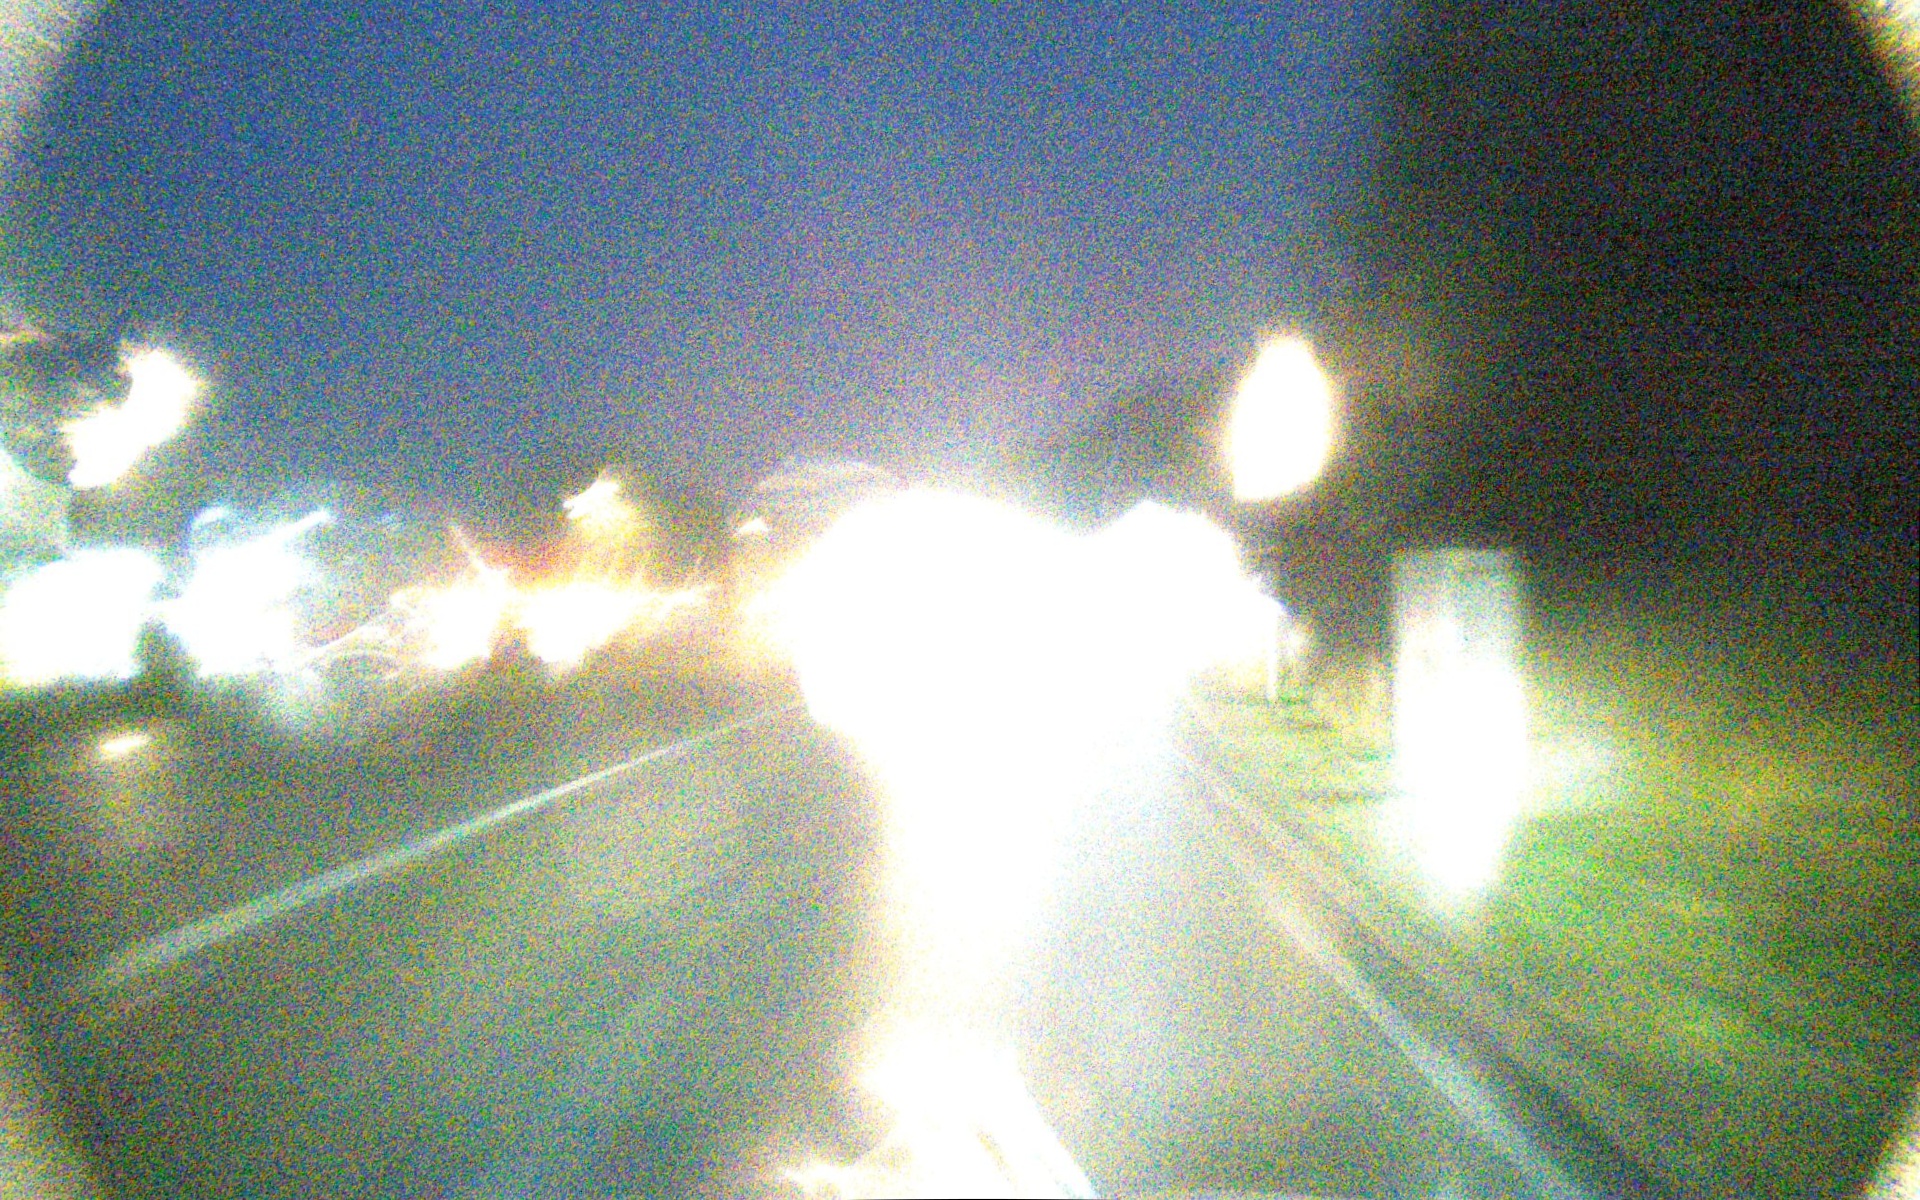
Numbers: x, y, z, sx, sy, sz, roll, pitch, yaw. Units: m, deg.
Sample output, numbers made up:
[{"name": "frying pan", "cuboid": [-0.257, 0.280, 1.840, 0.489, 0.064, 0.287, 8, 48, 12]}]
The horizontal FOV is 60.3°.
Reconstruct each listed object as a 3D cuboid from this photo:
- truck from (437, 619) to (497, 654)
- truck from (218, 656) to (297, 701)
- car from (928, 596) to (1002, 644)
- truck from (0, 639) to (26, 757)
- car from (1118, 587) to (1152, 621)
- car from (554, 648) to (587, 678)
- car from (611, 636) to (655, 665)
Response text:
[{"name": "truck", "cuboid": [-37.130, 2.699, 124.794, 2.272, 2.506, 6.494, 1, 0, 2]}, {"name": "truck", "cuboid": [-38.781, 4.293, 91.399, 2.040, 2.155, 4.498, -5, -1, 4]}, {"name": "car", "cuboid": [0.198, 0.587, 50.583, 1.599, 1.378, 4.146, 0, 0, 9]}, {"name": "truck", "cuboid": [-30.282, 3.007, 47.393, 2.415, 3.540, 7.055, -5, -1, 4]}, {"name": "car", "cuboid": [11.232, 0.240, 105.806, 1.851, 2.037, 4.885, 2, 1, 9]}, {"name": "car", "cuboid": [-22.497, 3.611, 95.582, 1.781, 1.594, 4.192, -4, -1, -13]}, {"name": "car", "cuboid": [-20.324, 3.108, 102.887, 1.709, 1.646, 3.515, -4, -1, 4]}]
